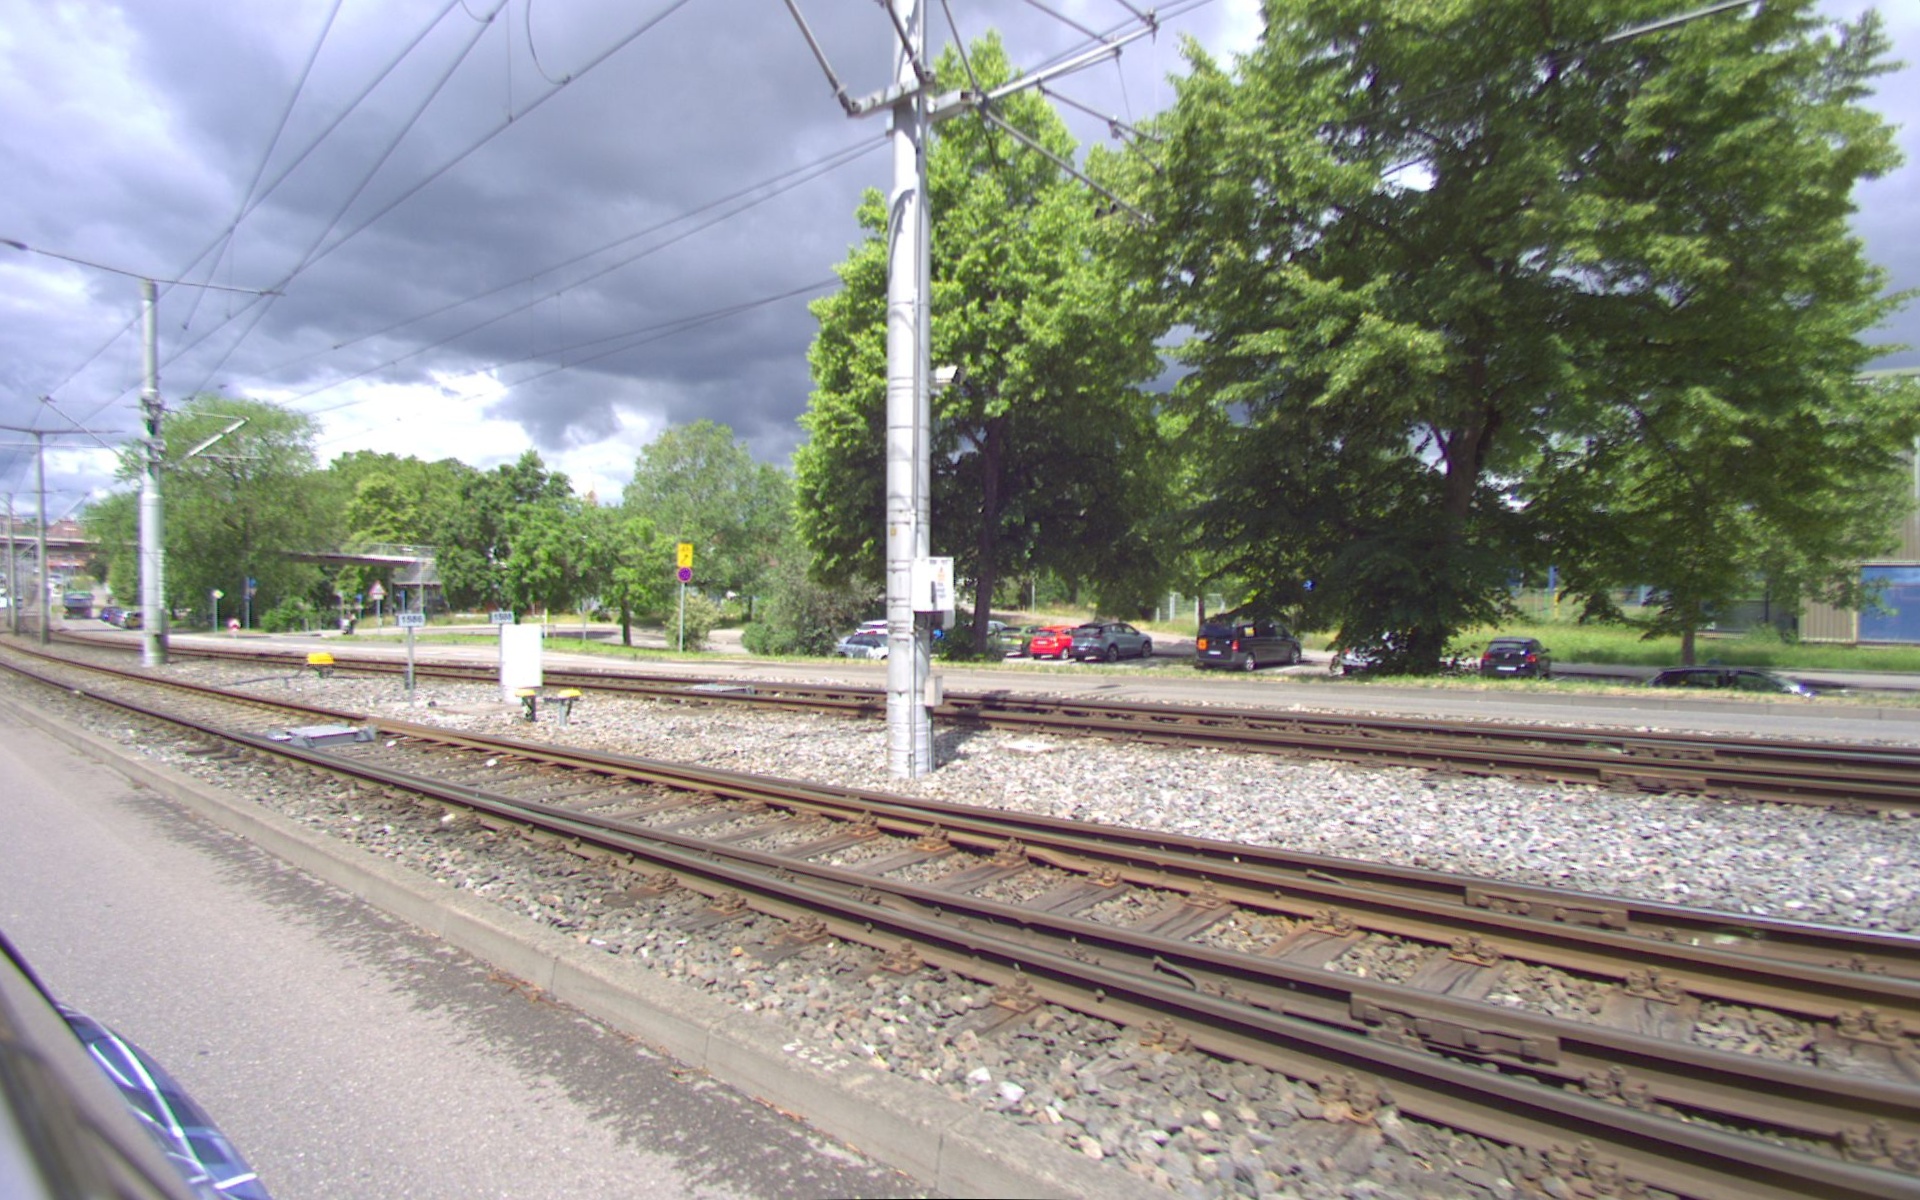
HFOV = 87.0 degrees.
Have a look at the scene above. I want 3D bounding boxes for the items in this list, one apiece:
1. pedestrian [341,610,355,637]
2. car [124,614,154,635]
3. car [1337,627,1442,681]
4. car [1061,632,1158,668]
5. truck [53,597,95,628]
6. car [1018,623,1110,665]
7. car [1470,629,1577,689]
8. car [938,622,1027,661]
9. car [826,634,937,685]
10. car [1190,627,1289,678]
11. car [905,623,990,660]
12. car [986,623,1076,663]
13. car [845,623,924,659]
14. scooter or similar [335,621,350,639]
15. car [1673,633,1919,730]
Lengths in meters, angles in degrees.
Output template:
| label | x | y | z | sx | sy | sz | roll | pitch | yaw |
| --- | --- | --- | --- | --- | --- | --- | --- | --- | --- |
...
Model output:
| label | x | y | z | sx | sy | sz | roll | pitch | yaw |
| --- | --- | --- | --- | --- | --- | --- | --- | --- | --- |
| pedestrian | -42.252 | 1.609 | 69.845 | 0.653 | 1.769 | 0.719 | -3 | 3 | -42 |
| car | -68.344 | 2.001 | 84.215 | 1.669 | 1.461 | 3.903 | -3 | 3 | -42 |
| car | 15.407 | 1.881 | 36.223 | 3.937 | 1.611 | 1.862 | -3 | 1 | -40 |
| car | 6.489 | 2.138 | 43.727 | 4.033 | 1.261 | 1.998 | -3 | 0 | -42 |
| truck | -104.568 | 1.391 | 119.424 | 9.033 | 3.344 | 2.839 | 1 | 3 | 44 |
| car | 4.718 | 1.953 | 45.655 | 3.907 | 1.592 | 1.998 | -3 | 0 | -42 |
| car | 18.584 | 1.879 | 33.319 | 3.938 | 1.611 | 1.861 | -3 | 1 | -41 |
| car | 1.111 | 1.937 | 48.429 | 3.907 | 1.592 | 1.996 | -3 | 0 | -42 |
| car | -3.095 | 2.273 | 39.457 | 4.067 | 1.768 | 1.969 | -2 | 0 | 41 |
| car | 10.722 | 1.963 | 38.702 | 3.551 | 1.649 | 1.954 | -3 | 1 | -40 |
| car | -0.593 | 2.037 | 50.390 | 3.907 | 1.592 | 1.871 | -3 | 0 | -42 |
| car | 3.350 | 1.970 | 47.359 | 3.907 | 1.592 | 1.998 | -3 | 0 | -42 |
| car | -3.985 | 2.153 | 53.768 | 3.871 | 1.592 | 1.843 | -3 | 0 | -45 |
| scooter or similar | -41.934 | 2.040 | 68.752 | 0.702 | 1.155 | 0.789 | -3 | 3 | -41 |
| car | 17.215 | 1.587 | 20.748 | 4.000 | 1.785 | 1.796 | -2 | -2 | 43 |
